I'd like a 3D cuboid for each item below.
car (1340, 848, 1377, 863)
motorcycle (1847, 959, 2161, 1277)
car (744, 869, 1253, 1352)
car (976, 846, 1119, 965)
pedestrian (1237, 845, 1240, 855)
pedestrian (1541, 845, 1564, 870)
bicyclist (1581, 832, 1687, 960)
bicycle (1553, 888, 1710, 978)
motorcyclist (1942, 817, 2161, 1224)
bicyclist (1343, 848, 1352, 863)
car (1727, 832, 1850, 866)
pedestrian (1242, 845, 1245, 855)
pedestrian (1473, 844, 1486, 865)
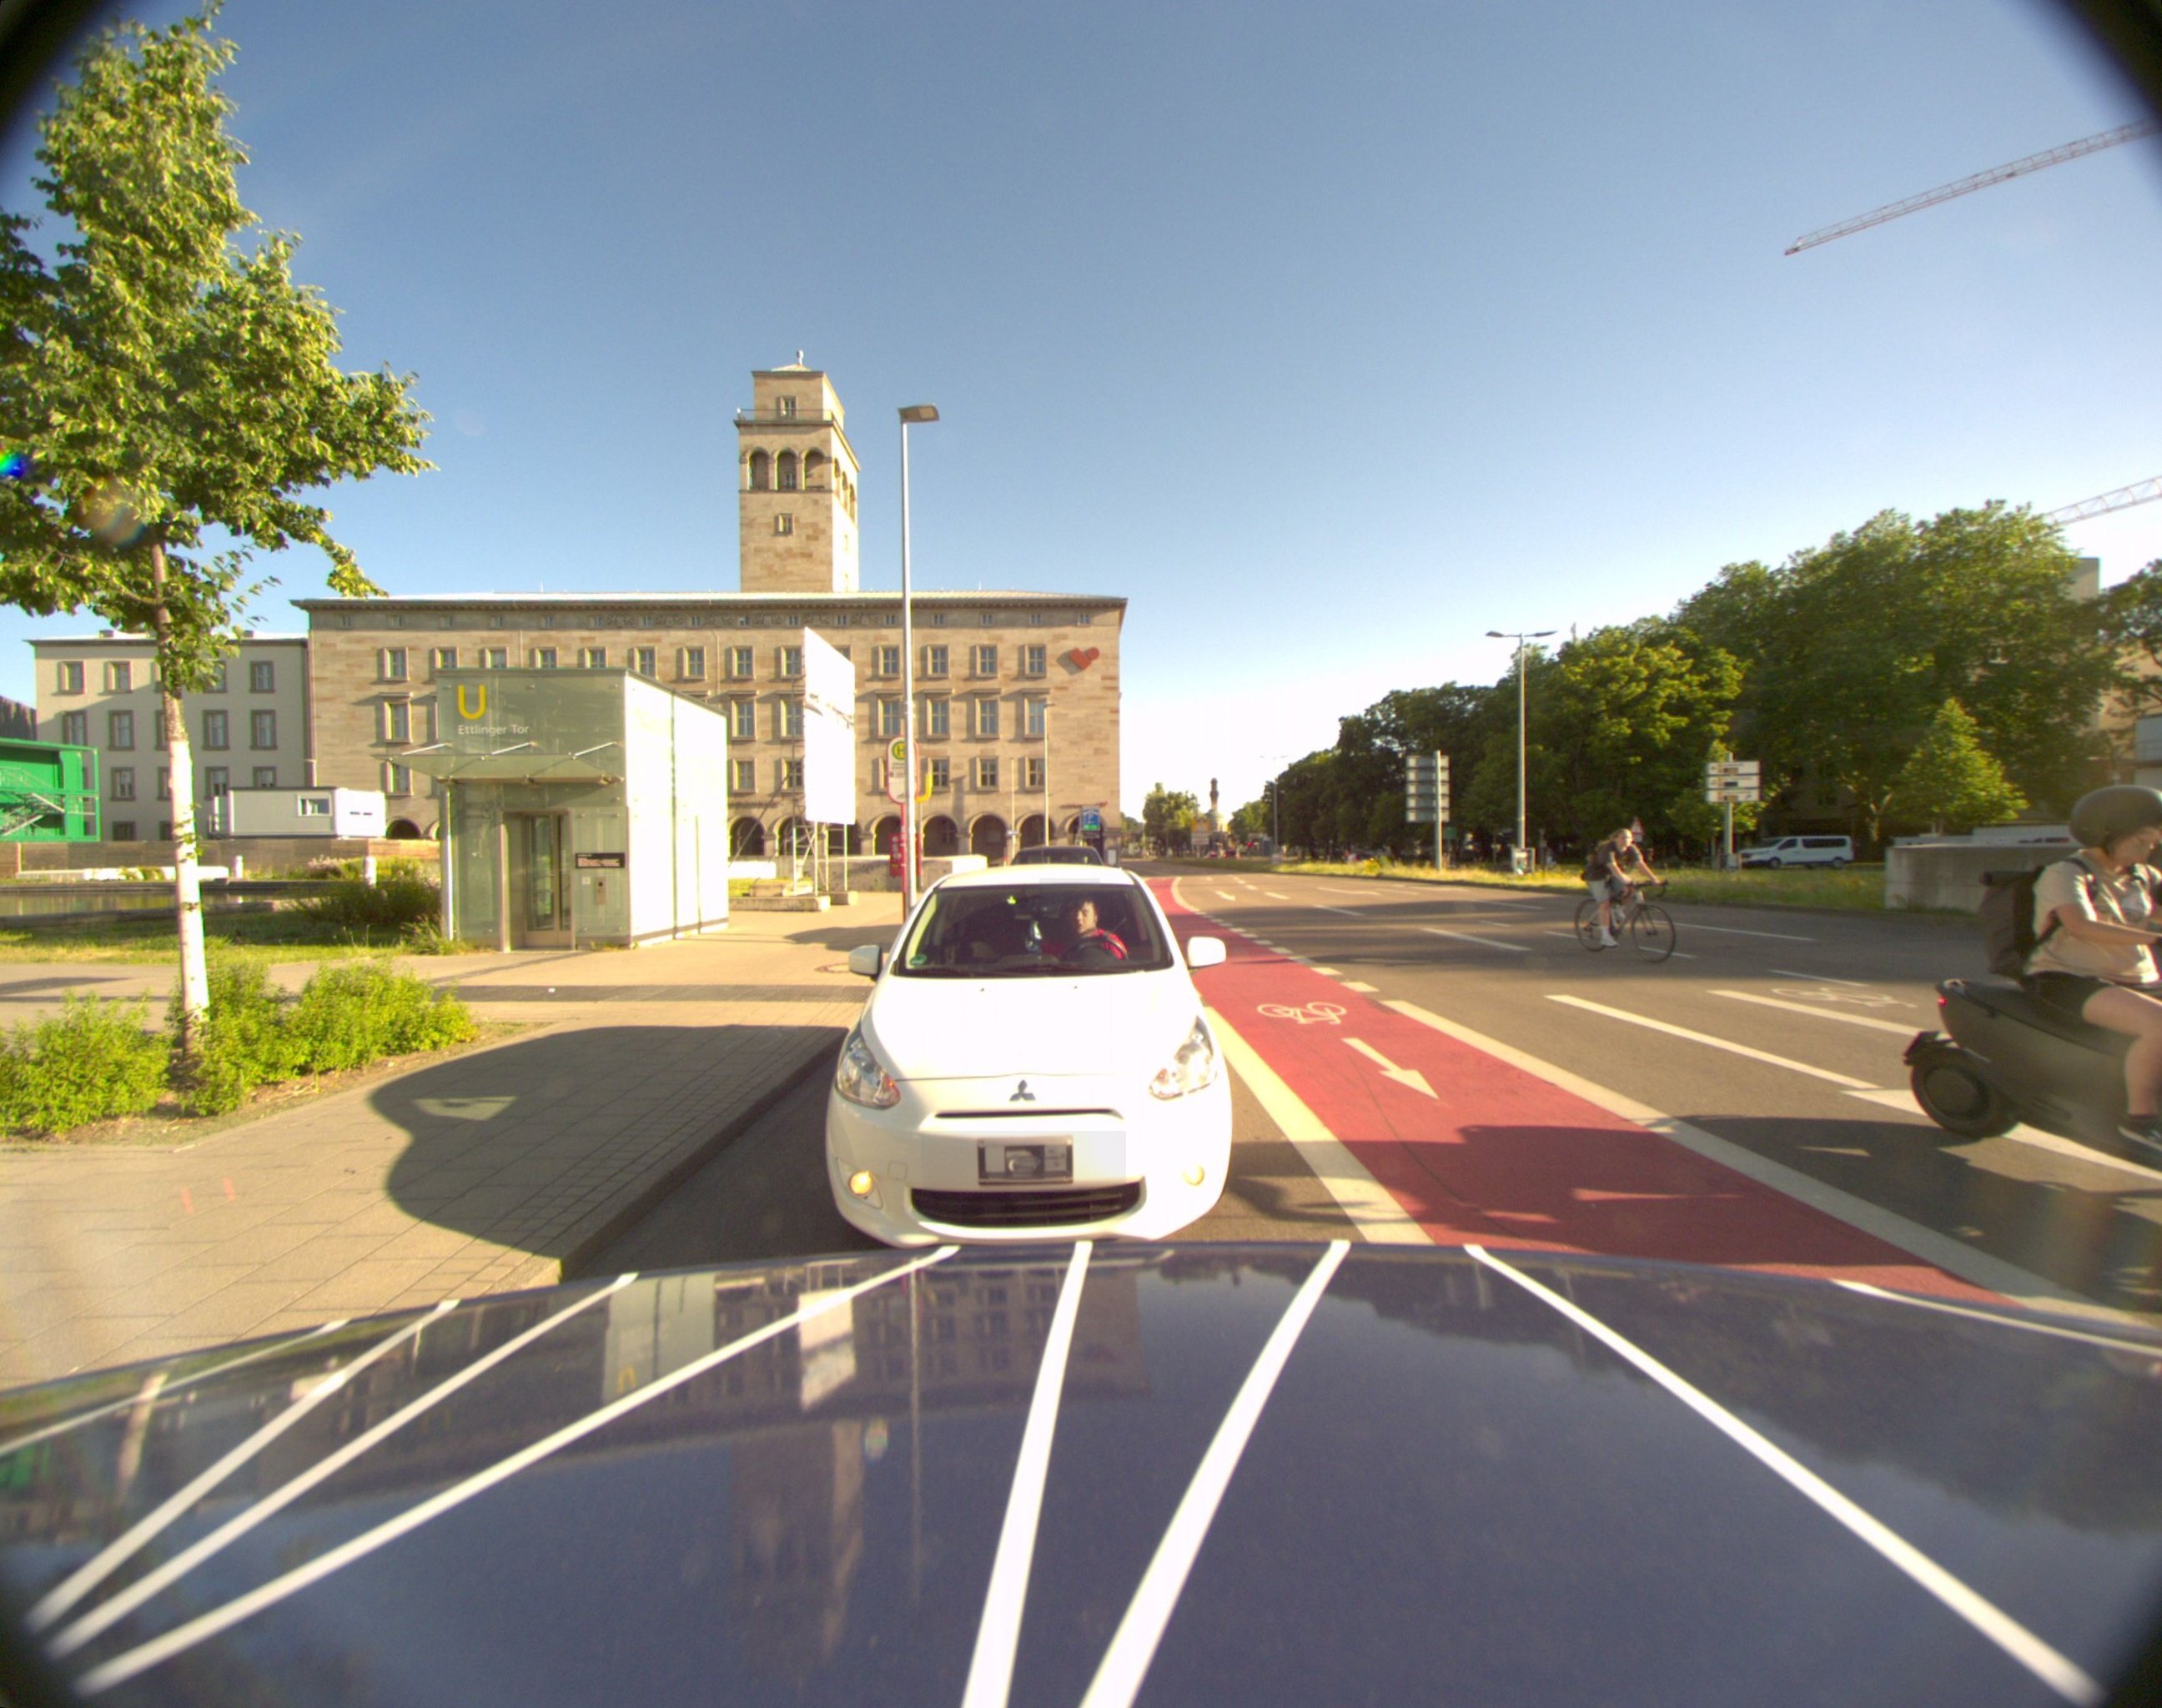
[{"bbox_3d":[22.780,0.110,62.438,1.618,1.126,3.770,-2,1,-1],"label":"car"},{"bbox_3d":[4.308,1.041,2.970,0.756,0.963,1.960,-1,1,5],"label":"motorcycle"},{"bbox_3d":[-0.251,0.919,4.564,1.660,1.463,3.968,-3,1,1],"label":"car"},{"bbox_3d":[-0.487,0.707,13.137,1.999,1.652,4.791,-1,1,0],"label":"car"},{"bbox_3d":[31.568,-0.844,152.433,0.525,2.002,0.594,-1,1,-2],"label":"pedestrian"},{"bbox_3d":[33.764,0.227,54.430,0.997,1.773,0.964,-2,1,1],"label":"pedestrian"},{"bbox_3d":[6.828,0.490,9.426,0.624,1.494,0.938,-2,1,2],"label":"bicyclist"},{"bbox_3d":[6.843,0.945,9.581,0.624,0.903,1.910,-2,1,2],"label":"bicycle"},{"bbox_3d":[4.301,0.592,3.023,0.756,1.475,0.882,-1,1,5],"label":"motorcyclist"},{"bbox_3d":[24.217,0.146,69.033,0.617,1.359,0.768,-1,1,1],"label":"bicyclist"},{"bbox_3d":[41.919,-0.302,45.097,5.325,1.880,2.000,-1,0,2],"label":"car"},{"bbox_3d":[32.547,-0.878,152.443,0.525,2.002,0.594,-1,1,-2],"label":"pedestrian"},{"bbox_3d":[32.179,0.030,61.356,0.664,1.716,0.697,-1,1,0],"label":"pedestrian"}]
